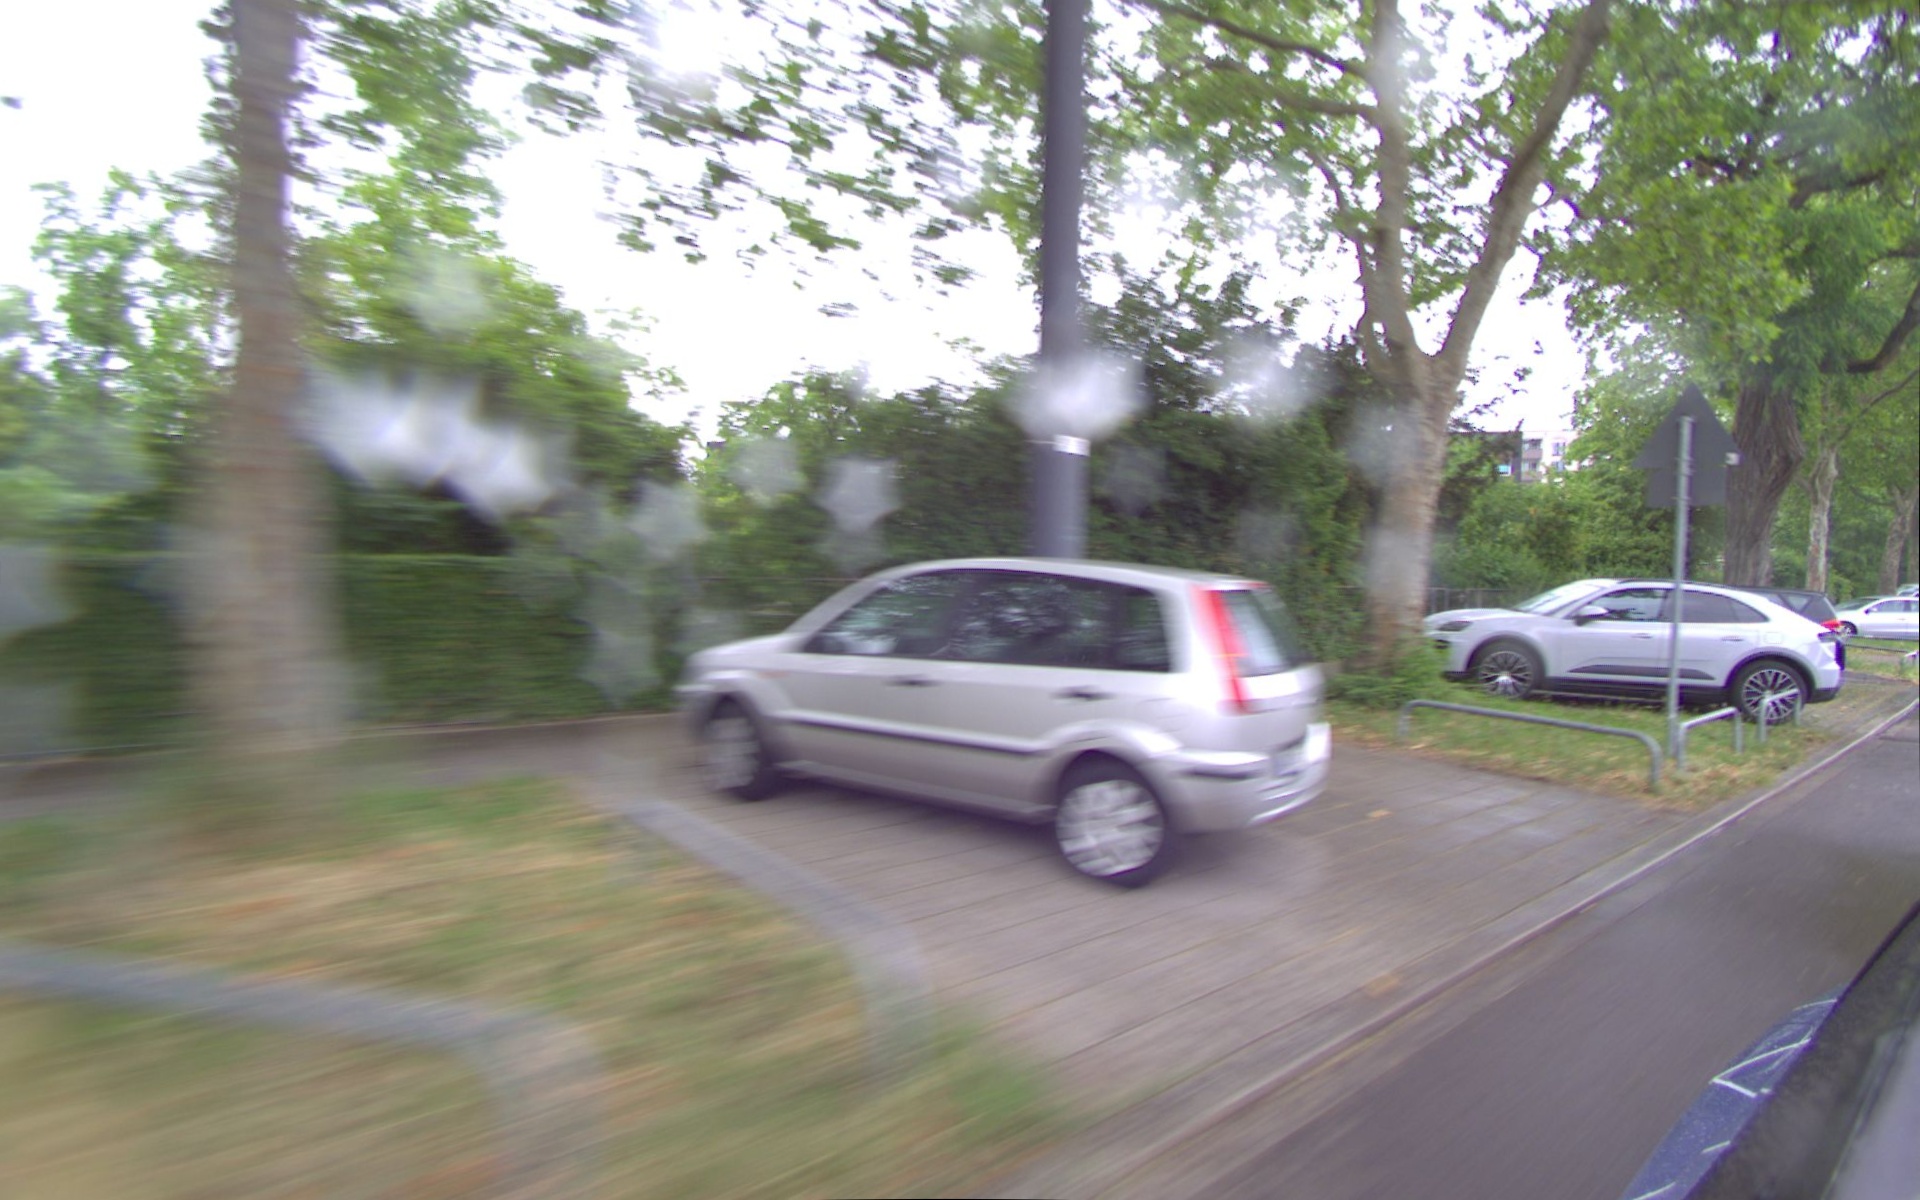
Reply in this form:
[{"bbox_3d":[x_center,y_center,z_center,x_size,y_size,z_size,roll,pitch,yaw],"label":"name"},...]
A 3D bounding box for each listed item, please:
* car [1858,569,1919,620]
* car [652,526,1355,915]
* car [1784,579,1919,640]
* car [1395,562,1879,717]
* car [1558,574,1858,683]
[{"bbox_3d":[40.909,-0.149,41.991,4.957,2.038,1.992,3,1,14],"label":"car"},{"bbox_3d":[0.131,0.428,5.981,3.839,1.585,1.601,4,3,32],"label":"car"},{"bbox_3d":[27.175,0.314,29.415,4.500,1.563,1.877,4,2,17],"label":"car"},{"bbox_3d":[8.355,0.404,13.030,4.703,1.689,1.987,1,2,13],"label":"car"},{"bbox_3d":[12.431,0.411,17.086,3.664,1.585,1.611,2,2,17],"label":"car"}]
